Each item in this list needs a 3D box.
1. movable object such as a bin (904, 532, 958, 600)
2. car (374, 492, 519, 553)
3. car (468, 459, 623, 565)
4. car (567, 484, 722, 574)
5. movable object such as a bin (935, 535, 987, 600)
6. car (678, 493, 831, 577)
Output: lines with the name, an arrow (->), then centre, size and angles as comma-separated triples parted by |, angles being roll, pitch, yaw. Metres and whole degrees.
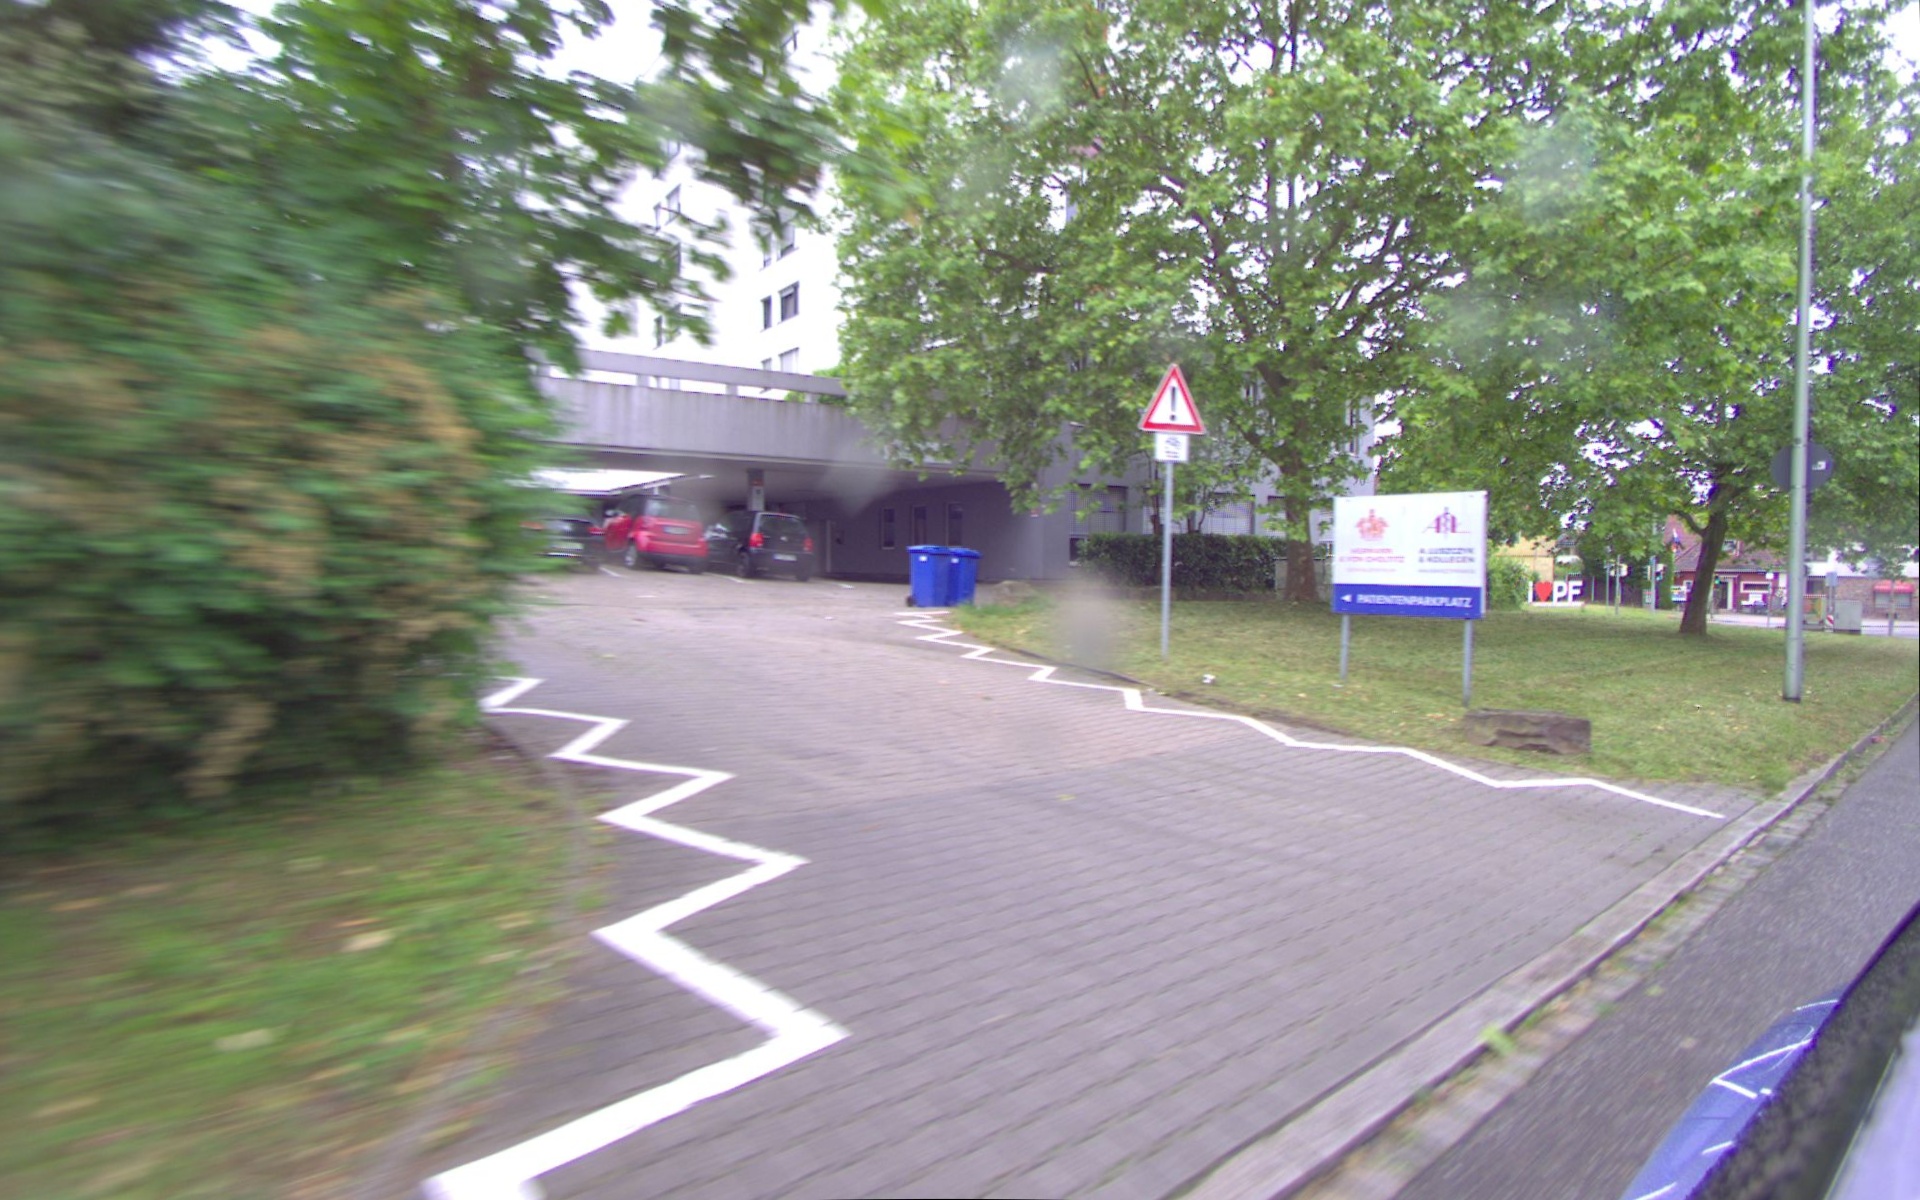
movable object such as a bin -> -0.503, -0.581, 17.676 | 0.668, 1.134, 0.652 | -2, -1, 43
car -> -16.020, -2.398, 31.631 | 3.919, 1.659, 1.932 | 1, 3, -30
car -> -8.128, -1.610, 19.627 | 1.962, 1.771, 4.001 | 1, 2, -35
car -> -6.860, -1.459, 21.732 | 1.923, 1.682, 3.999 | 1, 1, -37
movable object such as a bin -> 0.021, -0.581, 18.278 | 0.668, 1.134, 0.652 | -2, -1, 43
car -> -4.722, -1.410, 22.843 | 1.962, 1.660, 4.001 | 1, 2, -35
